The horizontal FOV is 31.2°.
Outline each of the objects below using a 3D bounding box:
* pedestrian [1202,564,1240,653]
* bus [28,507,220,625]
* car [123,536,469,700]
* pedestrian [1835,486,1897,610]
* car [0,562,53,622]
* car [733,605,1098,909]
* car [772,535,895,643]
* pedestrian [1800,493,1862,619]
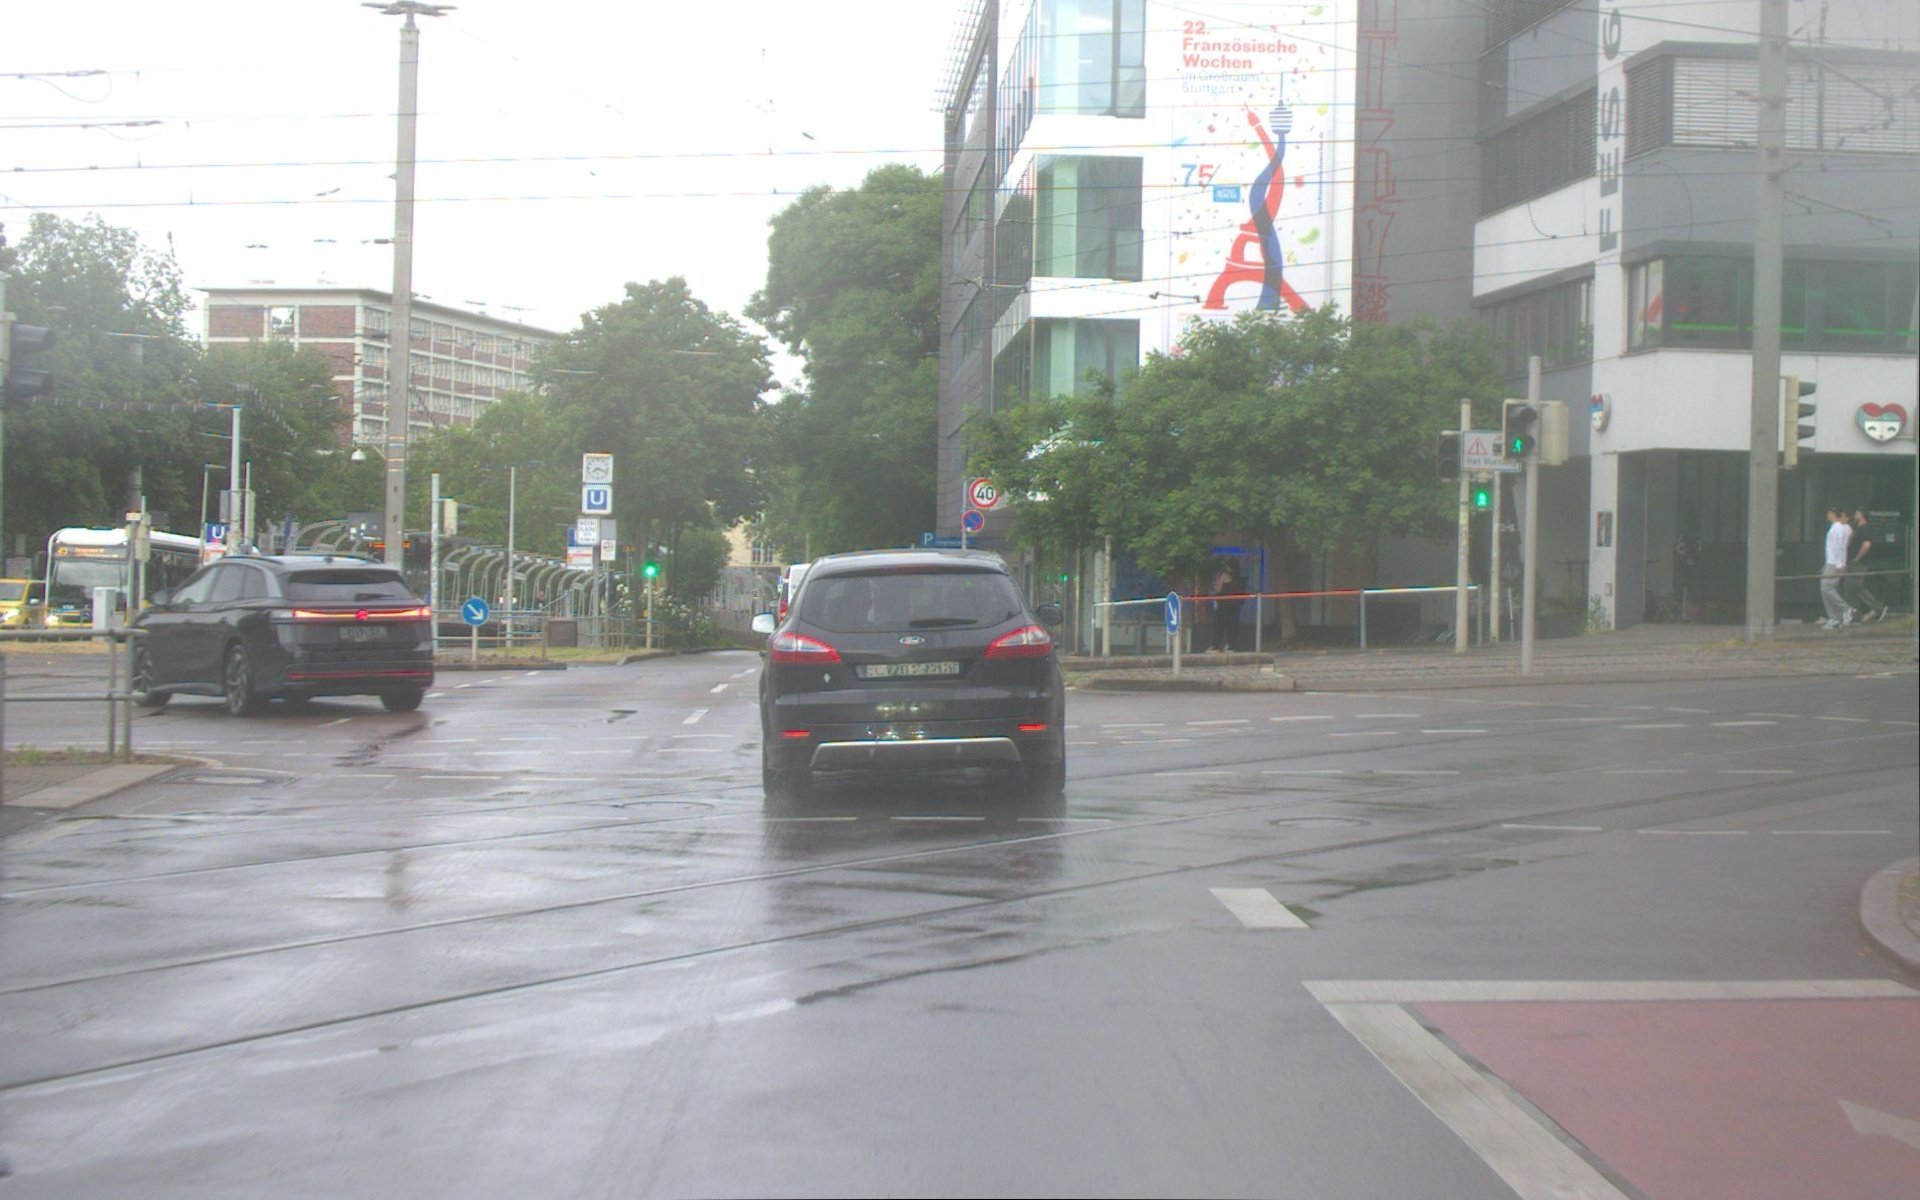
[{"bbox_3d":[4.592,0.139,60.458,0.542,1.558,0.521,0,1,19],"label":"pedestrian"},{"bbox_3d":[-24.713,-1.047,102.331,3.076,3.289,12.524,0,1,-2],"label":"bus"},{"bbox_3d":[-6.663,0.128,34.064,2.098,1.500,4.732,-1,1,-27],"label":"car"},{"bbox_3d":[14.022,-0.804,53.204,0.718,1.907,0.696,0,1,37],"label":"pedestrian"},{"bbox_3d":[-27.382,-0.243,97.901,1.993,1.640,4.537,0,1,-1],"label":"car"},{"bbox_3d":[-0.318,0.892,21.623,2.035,1.579,4.393,1,1,-2],"label":"car"},{"bbox_3d":[-2.243,-0.230,62.109,2.036,1.833,4.392,1,1,0],"label":"car"},{"bbox_3d":[13.338,-0.677,52.654,0.718,1.907,0.696,0,1,37],"label":"pedestrian"}]
